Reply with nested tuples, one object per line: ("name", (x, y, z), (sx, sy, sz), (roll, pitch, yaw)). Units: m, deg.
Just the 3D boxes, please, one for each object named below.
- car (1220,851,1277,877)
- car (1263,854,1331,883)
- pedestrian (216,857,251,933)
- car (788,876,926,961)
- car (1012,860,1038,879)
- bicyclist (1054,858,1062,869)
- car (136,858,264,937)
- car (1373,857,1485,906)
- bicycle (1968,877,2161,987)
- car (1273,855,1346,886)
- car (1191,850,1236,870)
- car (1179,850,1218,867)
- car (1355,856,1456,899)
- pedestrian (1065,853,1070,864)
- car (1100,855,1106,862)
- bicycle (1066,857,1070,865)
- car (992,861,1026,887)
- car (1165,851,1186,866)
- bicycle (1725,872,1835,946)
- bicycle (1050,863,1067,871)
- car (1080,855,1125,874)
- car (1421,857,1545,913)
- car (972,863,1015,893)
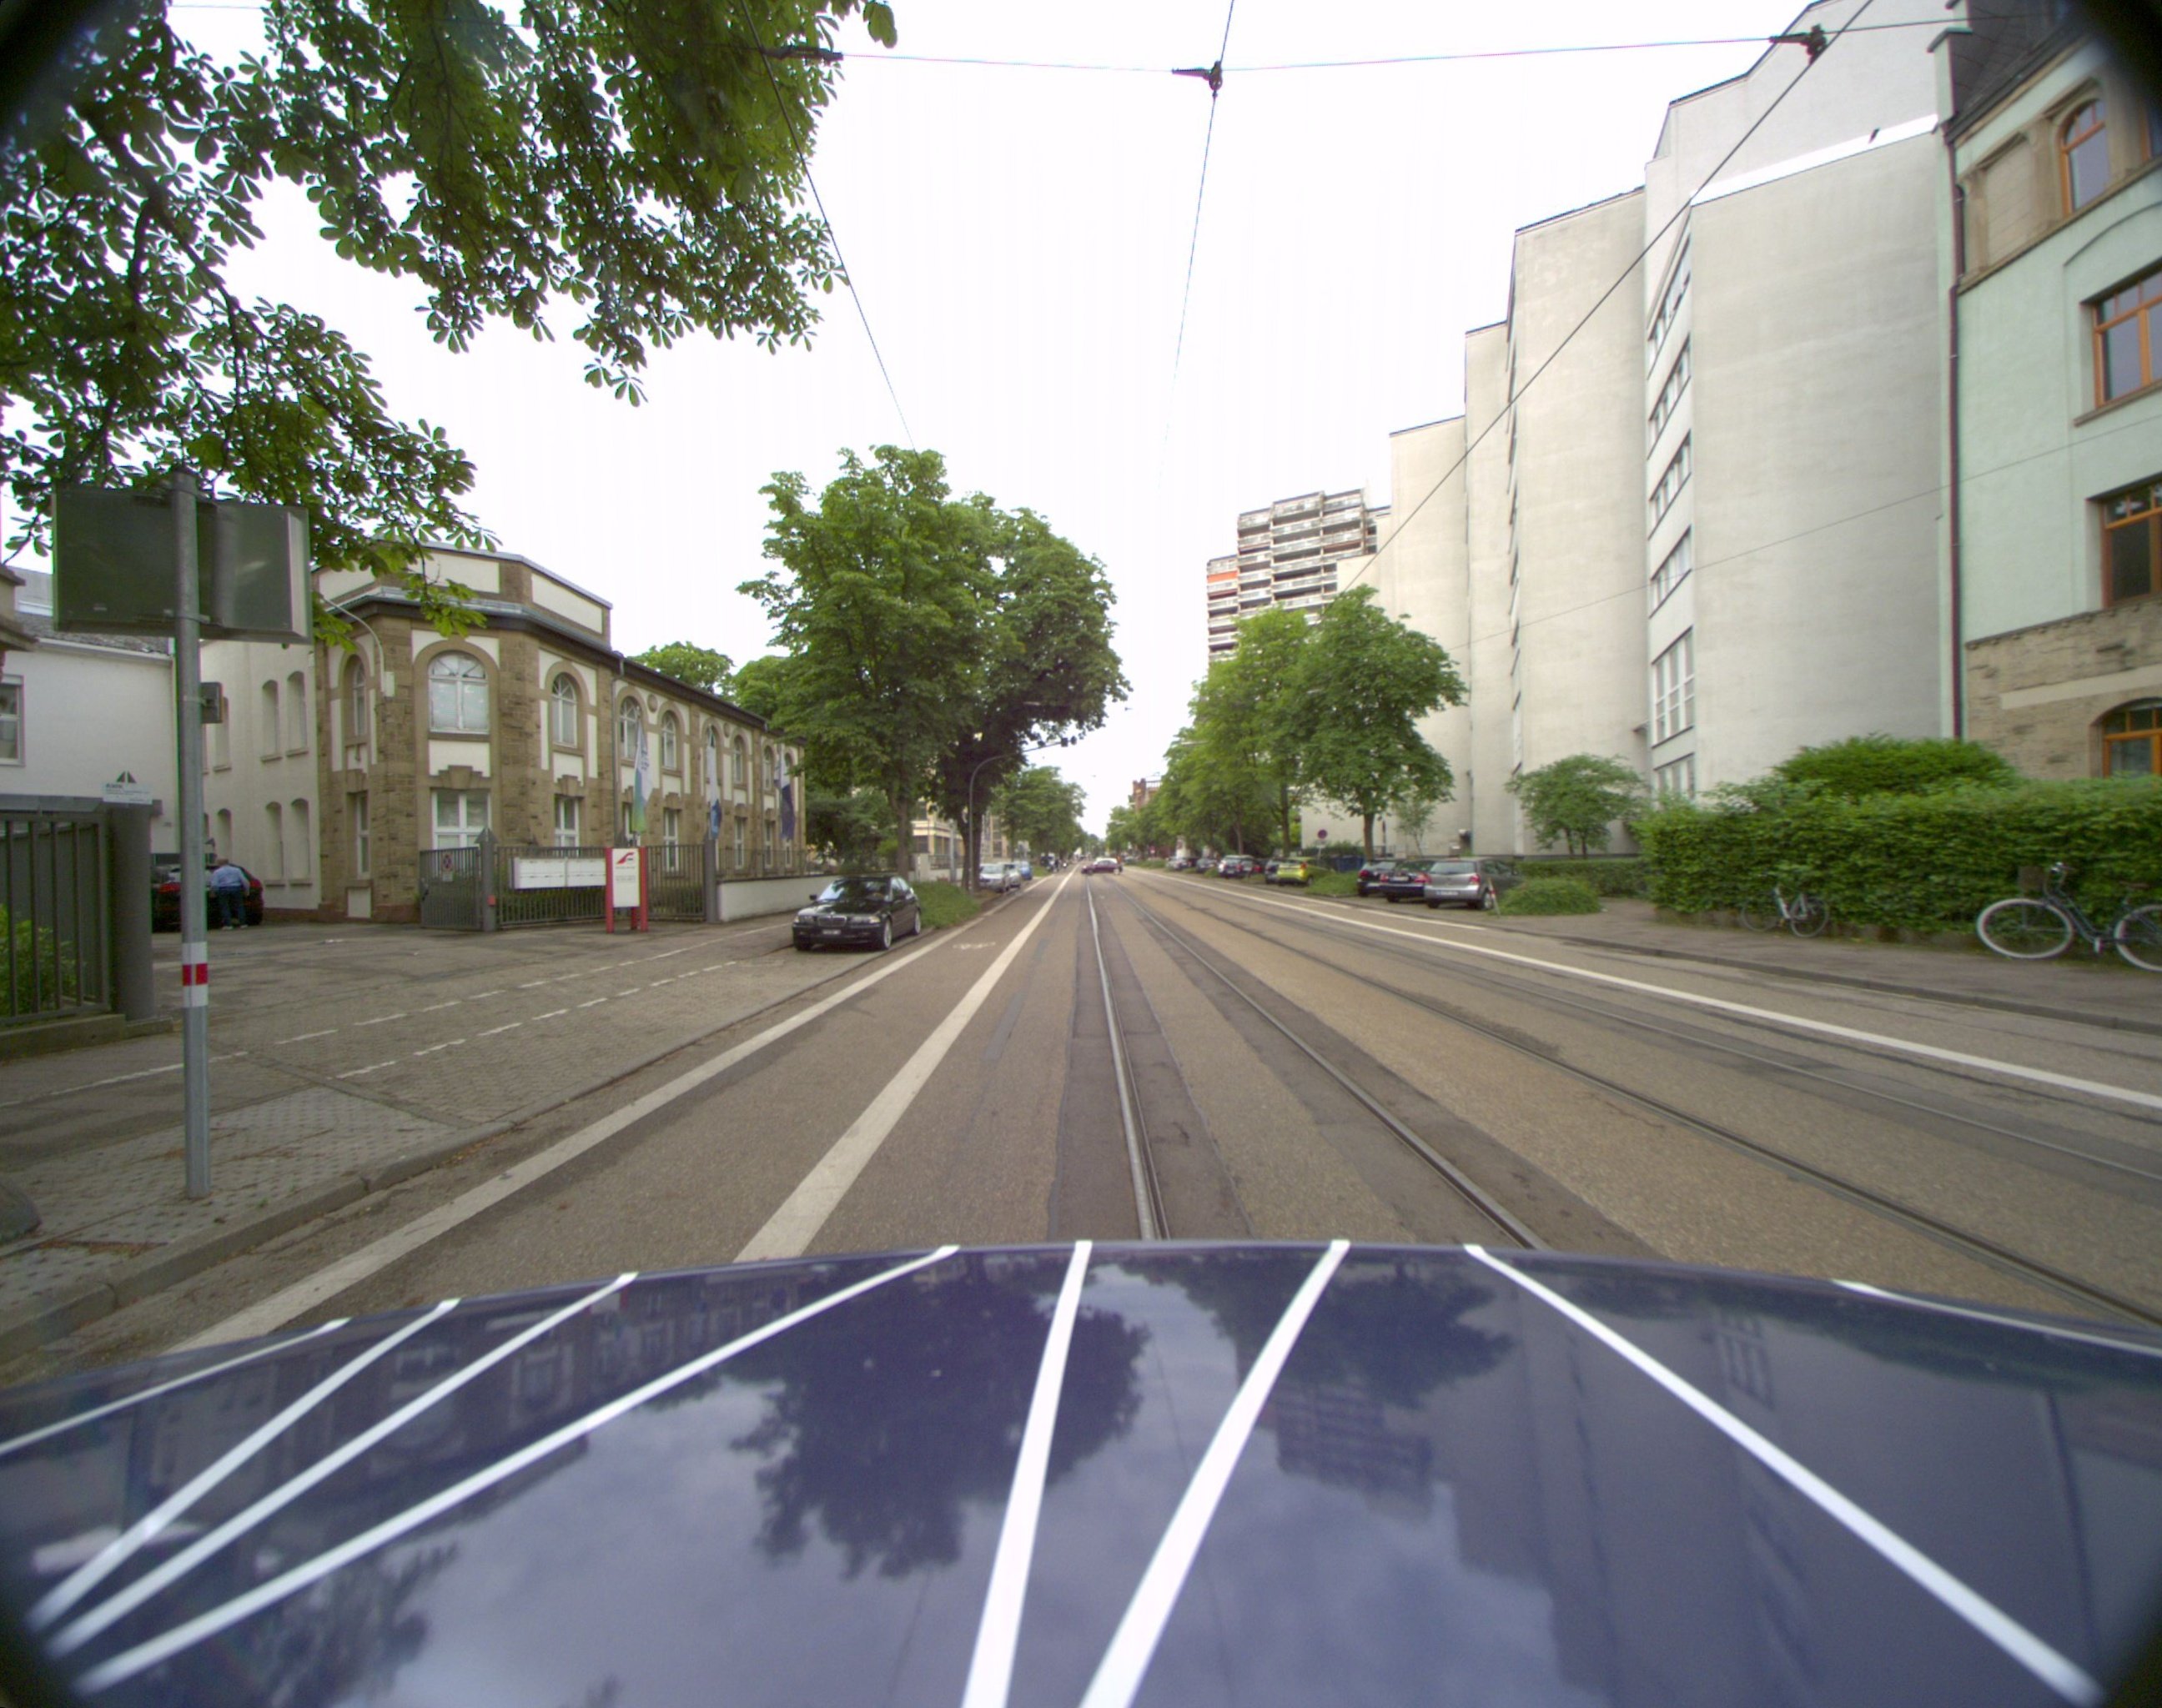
("car", (11.189, 0.639, 50.671), (4.008, 1.611, 1.690), (-1, 0, -43))
("car", (11.665, 0.748, 40.944), (4.008, 1.434, 1.690), (-1, 0, -43))
("pedestrian", (-21.354, 1.024, 19.143), (0.455, 1.863, 0.499), (-1, 1, 33))
("car", (-4.346, 1.203, 15.329), (1.606, 1.362, 3.837), (1, 0, 1))
("car", (-4.184, 1.128, 57.556), (1.606, 1.362, 3.837), (1, 0, 1))
("bicyclist", (-2.562, 1.110, 86.549), (0.875, 1.247, 0.752), (-1, 0, -1))
("car", (-23.677, 1.086, 20.387), (3.988, 1.874, 2.004), (-1, 0, 38))
("car", (11.297, 0.828, 24.556), (4.008, 1.395, 1.691), (-1, 0, -39))
("bicycle", (11.098, 0.826, 8.579), (0.360, 1.077, 1.546), (-1, 0, 0))
("car", (11.418, 0.790, 37.896), (4.008, 1.387, 1.690), (-1, 0, -43))
("car", (11.284, 0.509, 64.612), (4.008, 1.611, 1.690), (-1, 0, -43))
("car", (11.447, 0.422, 73.916), (4.008, 1.611, 1.690), (-1, 0, -43))
("car", (11.856, 0.802, 27.661), (4.008, 1.395, 1.691), (-1, 0, -39))
("pedestrian", (-1.899, 0.638, 110.791), (0.684, 1.541, 0.704), (-1, 1, 1))
("car", (6.747, 1.233, 232.728), (1.808, 2.002, 3.999), (-2, 1, 1))
("bicycle", (-1.885, 1.003, 110.833), (0.414, 1.197, 1.707), (-1, 0, 1))
("car", (-4.233, 1.151, 45.043), (1.606, 1.416, 3.837), (1, 0, 1))
("car", (10.425, 0.512, 84.220), (1.694, 1.611, 3.999), (-1, 0, -1))
("bicycle", (11.156, 0.846, 12.186), (0.360, 1.077, 1.546), (-1, 0, 0))
("bicycle", (-2.530, 1.482, 86.549), (1.889, 0.784, 0.568), (-1, 0, -1))
("car", (1.908, 0.915, 66.806), (3.772, 1.427, 1.608), (-3, 0, 4))
("car", (11.511, 0.830, 21.664), (4.008, 1.395, 1.691), (-1, 0, -39))
("car", (-4.304, 1.153, 37.903), (1.606, 1.362, 3.837), (1, 0, 1))
